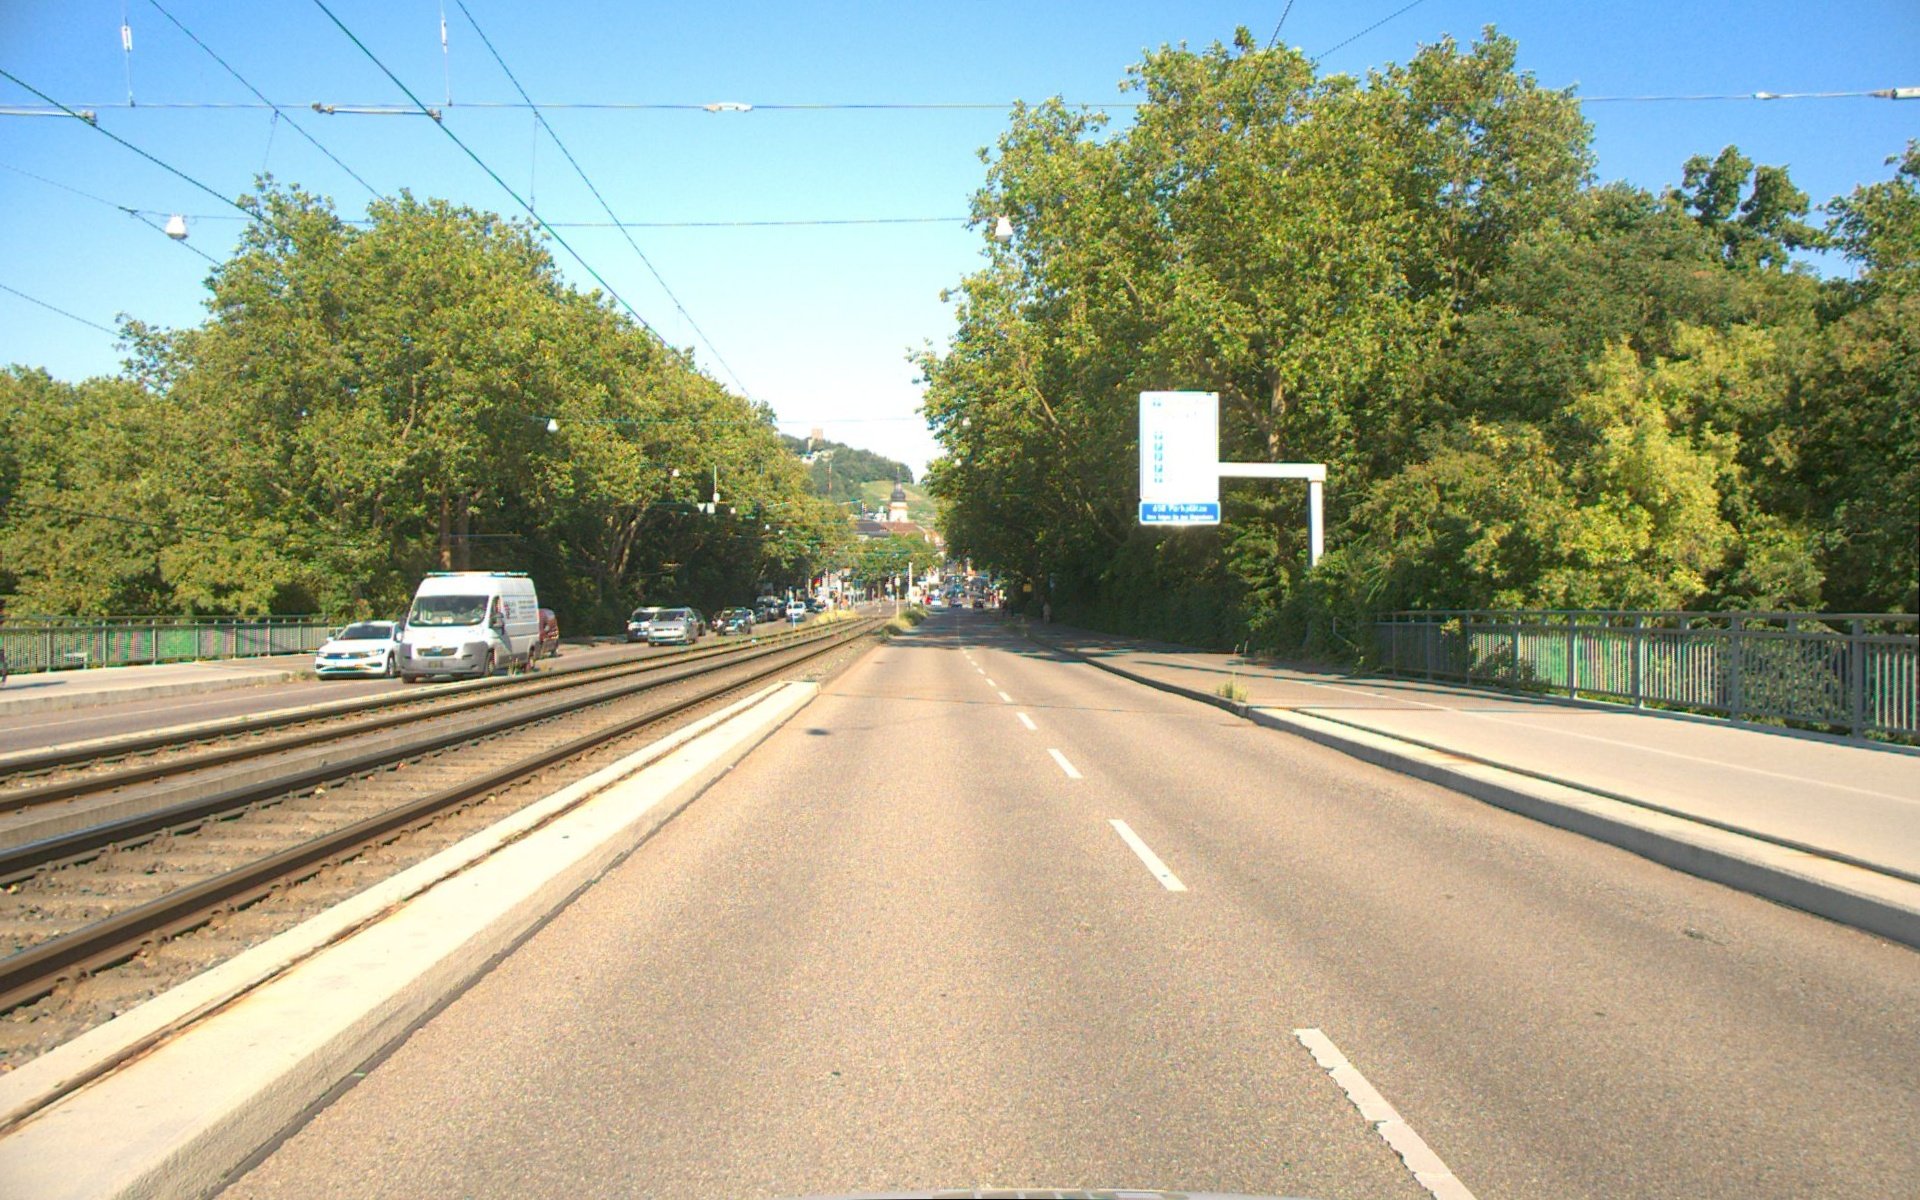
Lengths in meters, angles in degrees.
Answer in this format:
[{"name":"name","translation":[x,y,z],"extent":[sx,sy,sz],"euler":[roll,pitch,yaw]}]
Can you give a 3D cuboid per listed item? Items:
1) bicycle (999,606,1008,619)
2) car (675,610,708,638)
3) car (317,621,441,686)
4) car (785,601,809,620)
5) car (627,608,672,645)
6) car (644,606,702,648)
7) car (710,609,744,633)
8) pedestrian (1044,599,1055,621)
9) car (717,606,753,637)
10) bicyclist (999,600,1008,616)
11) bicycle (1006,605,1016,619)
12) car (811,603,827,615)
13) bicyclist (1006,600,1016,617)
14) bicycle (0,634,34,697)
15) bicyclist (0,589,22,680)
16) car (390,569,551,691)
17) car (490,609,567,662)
[{"name":"bicycle","translation":[4.701,1.328,179.185],"extent":[0.869,1.344,2.639],"euler":[-1,0,0]},{"name":"car","translation":[-16.777,1.476,103.439],"extent":[1.708,1.665,3.995],"euler":[-2,0,-6]},{"name":"car","translation":[-15.198,1.363,43.535],"extent":[1.707,1.489,4.954],"euler":[0,0,-2]},{"name":"car","translation":[-15.992,1.023,162.420],"extent":[1.953,1.877,5.299],"euler":[1,0,-2]},{"name":"car","translation":[-16.547,1.394,88.248],"extent":[1.707,1.773,4.511],"euler":[-4,1,-3]},{"name":"car","translation":[-13.050,1.203,75.403],"extent":[1.835,1.694,4.596],"euler":[3,0,-1]},{"name":"car","translation":[-17.321,1.547,123.144],"extent":[1.953,1.726,4.742],"euler":[-1,0,-2]},{"name":"pedestrian","translation":[6.542,0.731,121.223],"extent":[0.787,1.573,0.814],"euler":[-1,0,3]},{"name":"car","translation":[-13.492,1.270,99.512],"extent":[1.707,1.651,4.392],"euler":[-3,1,-3]},{"name":"bicyclist","translation":[4.703,0.860,179.175],"extent":[0.869,1.806,1.222],"euler":[-1,0,-1]},{"name":"bicycle","translation":[5.097,1.221,165.487],"extent":[0.869,1.344,2.639],"euler":[-1,0,-1]},{"name":"car","translation":[-19.452,1.243,228.241],"extent":[1.953,1.726,4.742],"euler":[-1,0,-2]},{"name":"bicyclist","translation":[5.087,0.889,165.580],"extent":[0.869,1.667,1.164],"euler":[-1,0,-1]},{"name":"bicycle","translation":[-17.914,1.211,30.355],"extent":[0.666,1.117,2.100],"euler":[1,0,-1]},{"name":"bicyclist","translation":[-17.903,0.635,30.508],"extent":[0.666,1.655,0.890],"euler":[1,0,-1]},{"name":"car","translation":[-11.697,0.664,40.018],"extent":[2.044,2.638,6.040],"euler":[-2,0,-1]},{"name":"car","translation":[-15.636,1.247,60.152],"extent":[1.706,1.784,4.683],"euler":[-1,0,-2]}]
